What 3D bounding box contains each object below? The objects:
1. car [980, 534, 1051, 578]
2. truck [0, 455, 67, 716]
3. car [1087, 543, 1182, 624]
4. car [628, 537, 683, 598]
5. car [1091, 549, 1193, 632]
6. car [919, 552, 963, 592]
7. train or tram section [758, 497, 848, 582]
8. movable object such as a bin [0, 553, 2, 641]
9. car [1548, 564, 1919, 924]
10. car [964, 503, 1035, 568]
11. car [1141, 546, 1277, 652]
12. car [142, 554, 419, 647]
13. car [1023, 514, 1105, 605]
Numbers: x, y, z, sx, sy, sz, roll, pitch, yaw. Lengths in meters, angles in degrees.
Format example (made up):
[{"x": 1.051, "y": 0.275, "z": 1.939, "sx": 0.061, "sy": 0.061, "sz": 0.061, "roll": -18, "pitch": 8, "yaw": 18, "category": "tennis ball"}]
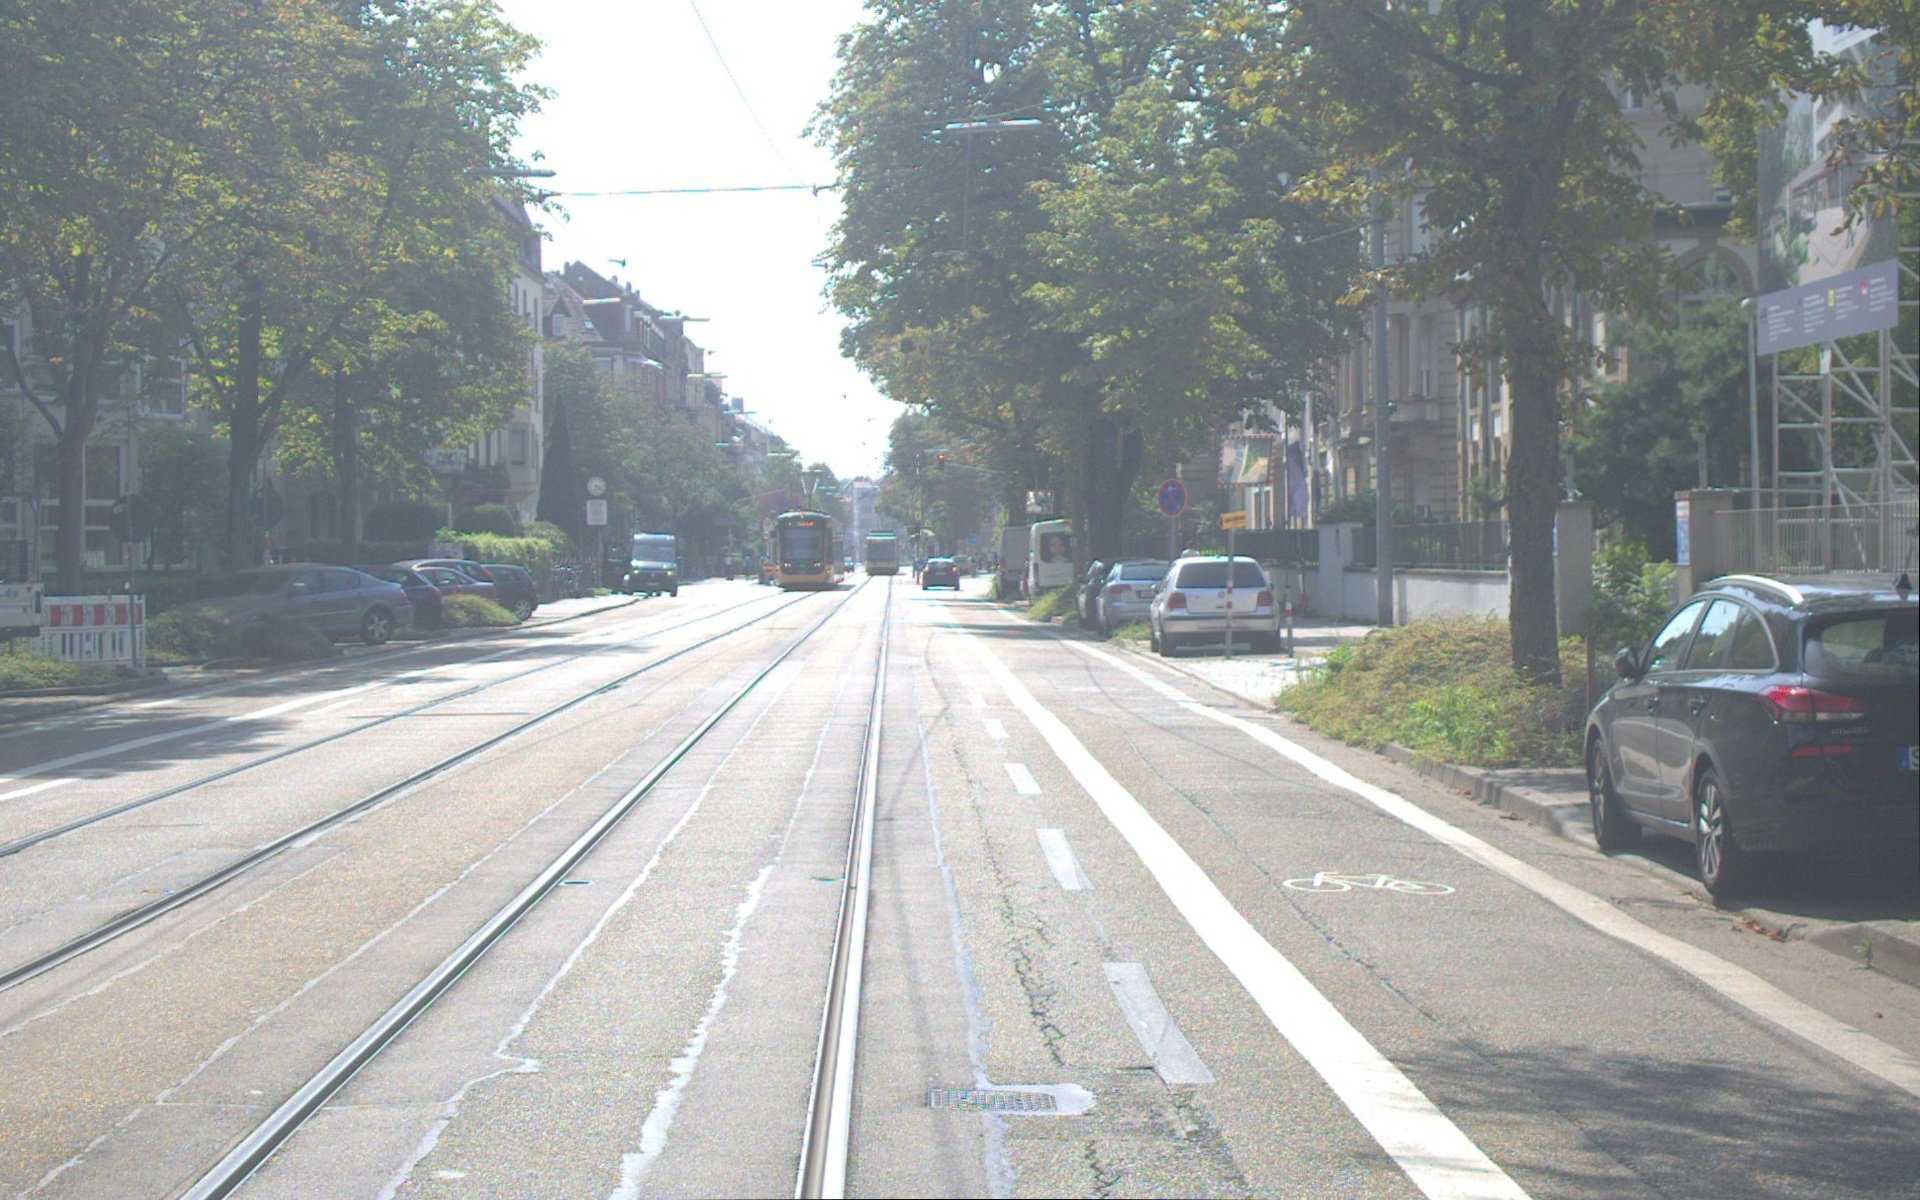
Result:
[{"x": 1.804, "y": -1.441, "z": 112.418, "sx": 1.993, "sy": 1.393, "sz": 4.001, "roll": 0, "pitch": 1, "yaw": -4, "category": "car"}, {"x": -11.387, "y": -0.097, "z": 31.243, "sx": 5.952, "sy": 2.426, "sz": 2.150, "roll": -2, "pitch": 2, "yaw": -40, "category": "truck"}, {"x": 3.518, "y": -0.350, "z": 69.891, "sx": 1.794, "sy": 1.571, "sz": 4.000, "roll": 0, "pitch": 1, "yaw": 1, "category": "car"}, {"x": -12.508, "y": -1.348, "z": 141.401, "sx": 2.241, "sy": 2.433, "sz": 4.001, "roll": 0, "pitch": 1, "yaw": -4, "category": "car"}, {"x": 3.364, "y": -0.202, "z": 64.052, "sx": 1.640, "sy": 1.506, "sz": 3.641, "roll": 0, "pitch": 1, "yaw": -1, "category": "car"}, {"x": -0.886, "y": -1.317, "z": 158.614, "sx": 1.993, "sy": 1.795, "sz": 4.000, "roll": 0, "pitch": 1, "yaw": -1, "category": "car"}, {"x": -7.010, "y": -2.798, "z": 155.219, "sx": 3.497, "sy": 3.691, "sz": 12.413, "roll": 0, "pitch": 2, "yaw": 0, "category": "train or tram section"}, {"x": -17.794, "y": -0.027, "z": 60.209, "sx": 1.682, "sy": 1.554, "sz": 1.354, "roll": -1, "pitch": 1, "yaw": -2, "category": "movable object such as a bin"}, {"x": 4.207, "y": 0.594, "z": 17.090, "sx": 1.674, "sy": 1.453, "sz": 4.664, "roll": -1, "pitch": 1, "yaw": -1, "category": "car"}, {"x": 1.355, "y": -2.238, "z": 118.983, "sx": 1.993, "sy": 2.226, "sz": 4.001, "roll": -1, "pitch": 1, "yaw": -6, "category": "car"}, {"x": 3.618, "y": -0.041, "z": 50.490, "sx": 1.791, "sy": 1.441, "sz": 3.733, "roll": -1, "pitch": 1, "yaw": 1, "category": "car"}, {"x": -11.906, "y": -0.025, "z": 60.470, "sx": 1.675, "sy": 1.446, "sz": 4.677, "roll": 1, "pitch": 3, "yaw": 43, "category": "car"}, {"x": 2.746, "y": -1.093, "z": 91.799, "sx": 1.993, "sy": 2.357, "sz": 4.000, "roll": 0, "pitch": 1, "yaw": -1, "category": "car"}]
